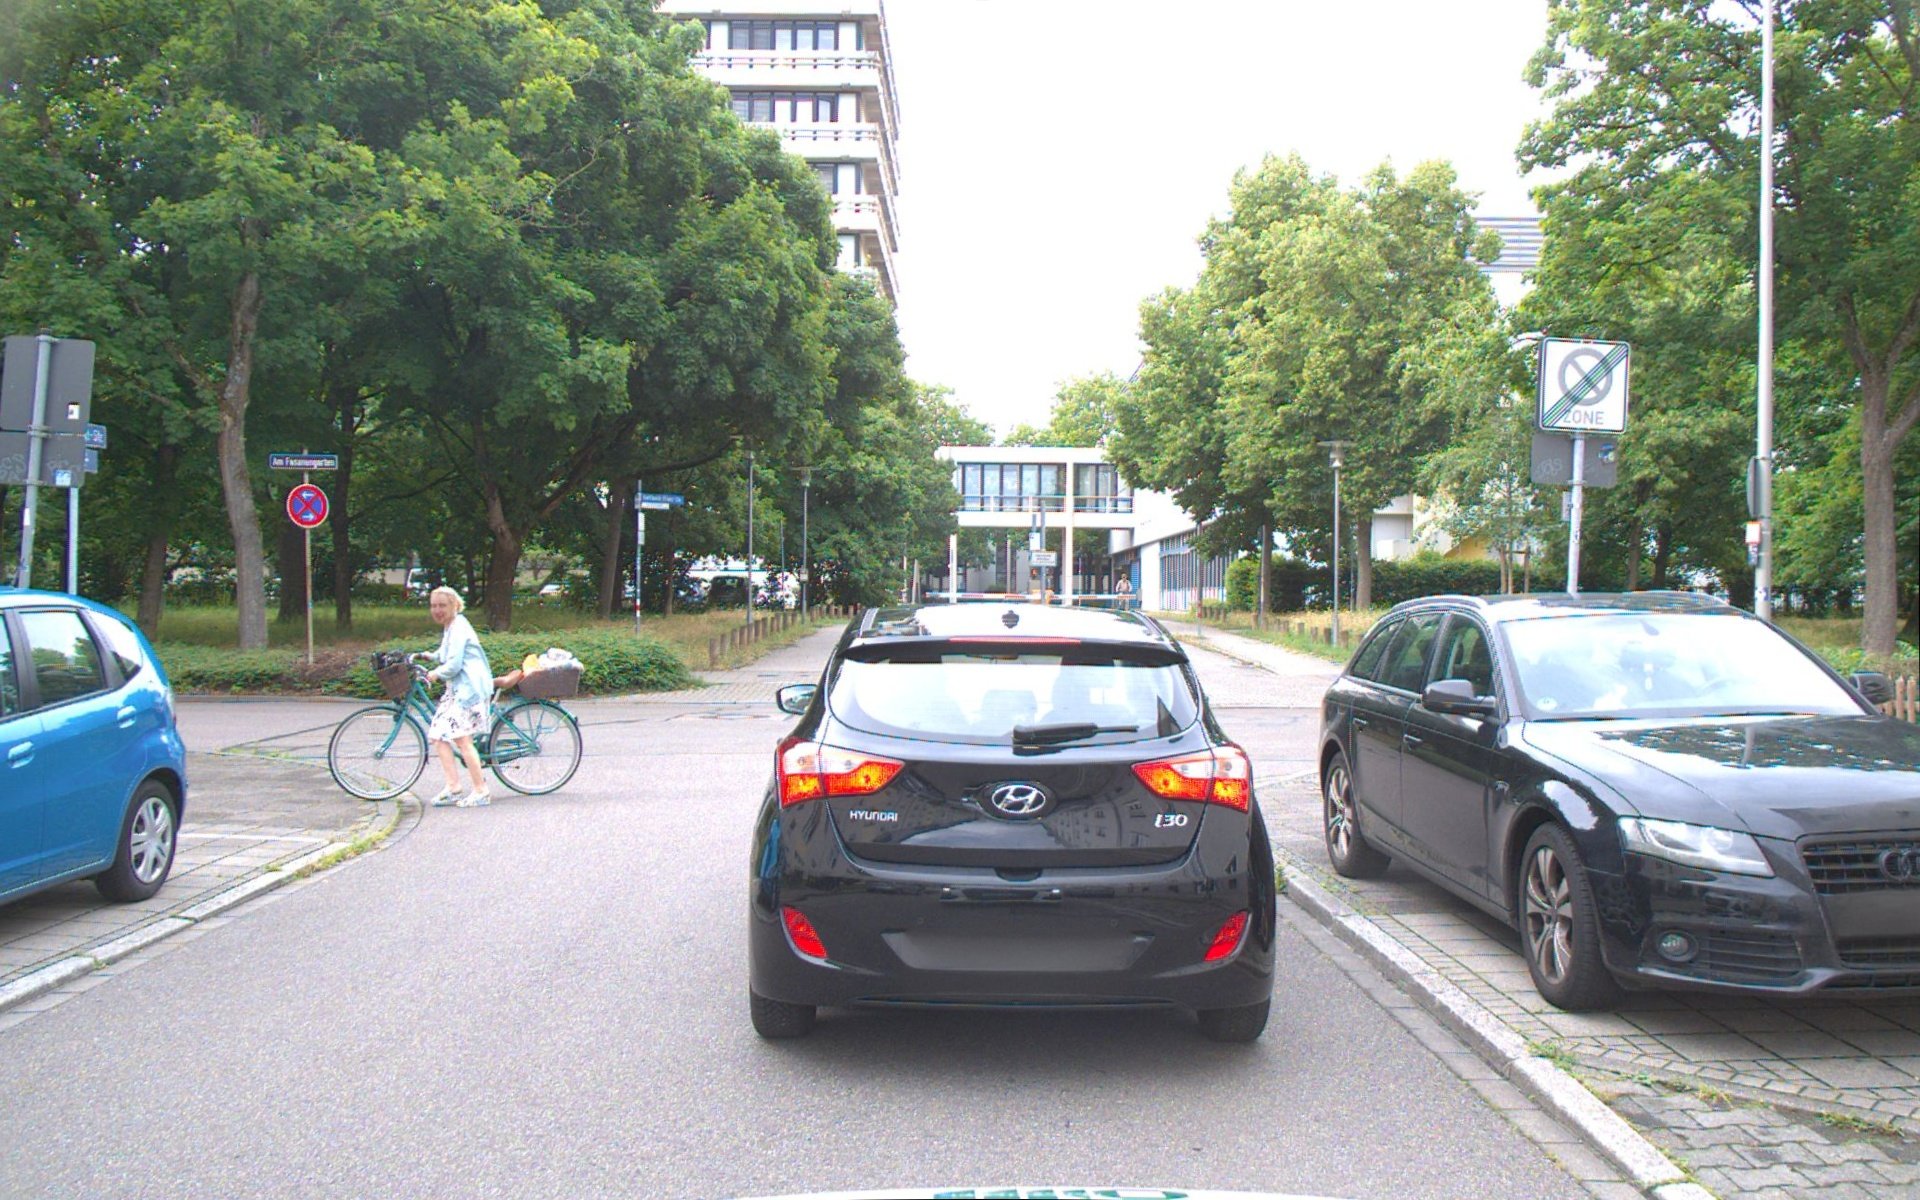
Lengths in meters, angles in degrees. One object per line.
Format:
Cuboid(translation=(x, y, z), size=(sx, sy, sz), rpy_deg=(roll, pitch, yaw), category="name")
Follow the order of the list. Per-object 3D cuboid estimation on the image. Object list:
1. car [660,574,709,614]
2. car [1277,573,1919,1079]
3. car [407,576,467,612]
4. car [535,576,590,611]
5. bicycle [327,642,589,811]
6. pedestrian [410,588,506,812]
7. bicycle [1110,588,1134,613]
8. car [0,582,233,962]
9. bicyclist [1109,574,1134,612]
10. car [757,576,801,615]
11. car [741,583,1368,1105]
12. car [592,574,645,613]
Cuboid(translation=(-13.110, -0.252, 78.816), size=(1.954, 1.825, 3.996), rpy_deg=(0, -1, -5), category="car")
Cuboid(translation=(2.869, 0.645, 7.301), size=(1.823, 1.488, 4.723), rpy_deg=(-1, 0, -3), category="car")
Cuboid(translation=(-24.901, -0.283, 78.903), size=(1.880, 1.646, 3.996), rpy_deg=(0, 0, -5), category="car")
Cuboid(translation=(-18.816, -0.315, 78.469), size=(1.954, 1.646, 3.996), rpy_deg=(0, 0, -5), category="car")
Cuboid(translation=(-3.730, 0.928, 12.400), size=(1.779, 1.139, 0.537), rpy_deg=(-2, 1, -10), category="bicycle")
Cuboid(translation=(-3.643, 0.712, 12.027), size=(0.555, 1.576, 0.447), rpy_deg=(-2, 1, -8), category="pedestrian")
Cuboid(translation=(7.215, 0.006, 73.788), size=(0.849, 1.093, 2.142), rpy_deg=(0, 1, 0), category="bicycle")
Cuboid(translation=(-4.710, 0.683, 6.821), size=(1.695, 1.488, 3.956), rpy_deg=(3, 0, -1), category="car")
Cuboid(translation=(7.216, -0.321, 73.863), size=(0.996, 1.673, 0.923), rpy_deg=(0, 1, 0), category="bicyclist")
Cuboid(translation=(-8.609, -0.201, 78.947), size=(1.954, 1.793, 3.996), rpy_deg=(0, -1, -5), category="car")
Cuboid(translation=(0.187, 0.707, 6.690), size=(1.809, 1.488, 3.825), rpy_deg=(1, 0, -3), category="car")
Cuboid(translation=(-16.149, -0.288, 78.441), size=(1.954, 1.758, 3.996), rpy_deg=(0, -1, -5), category="car")
